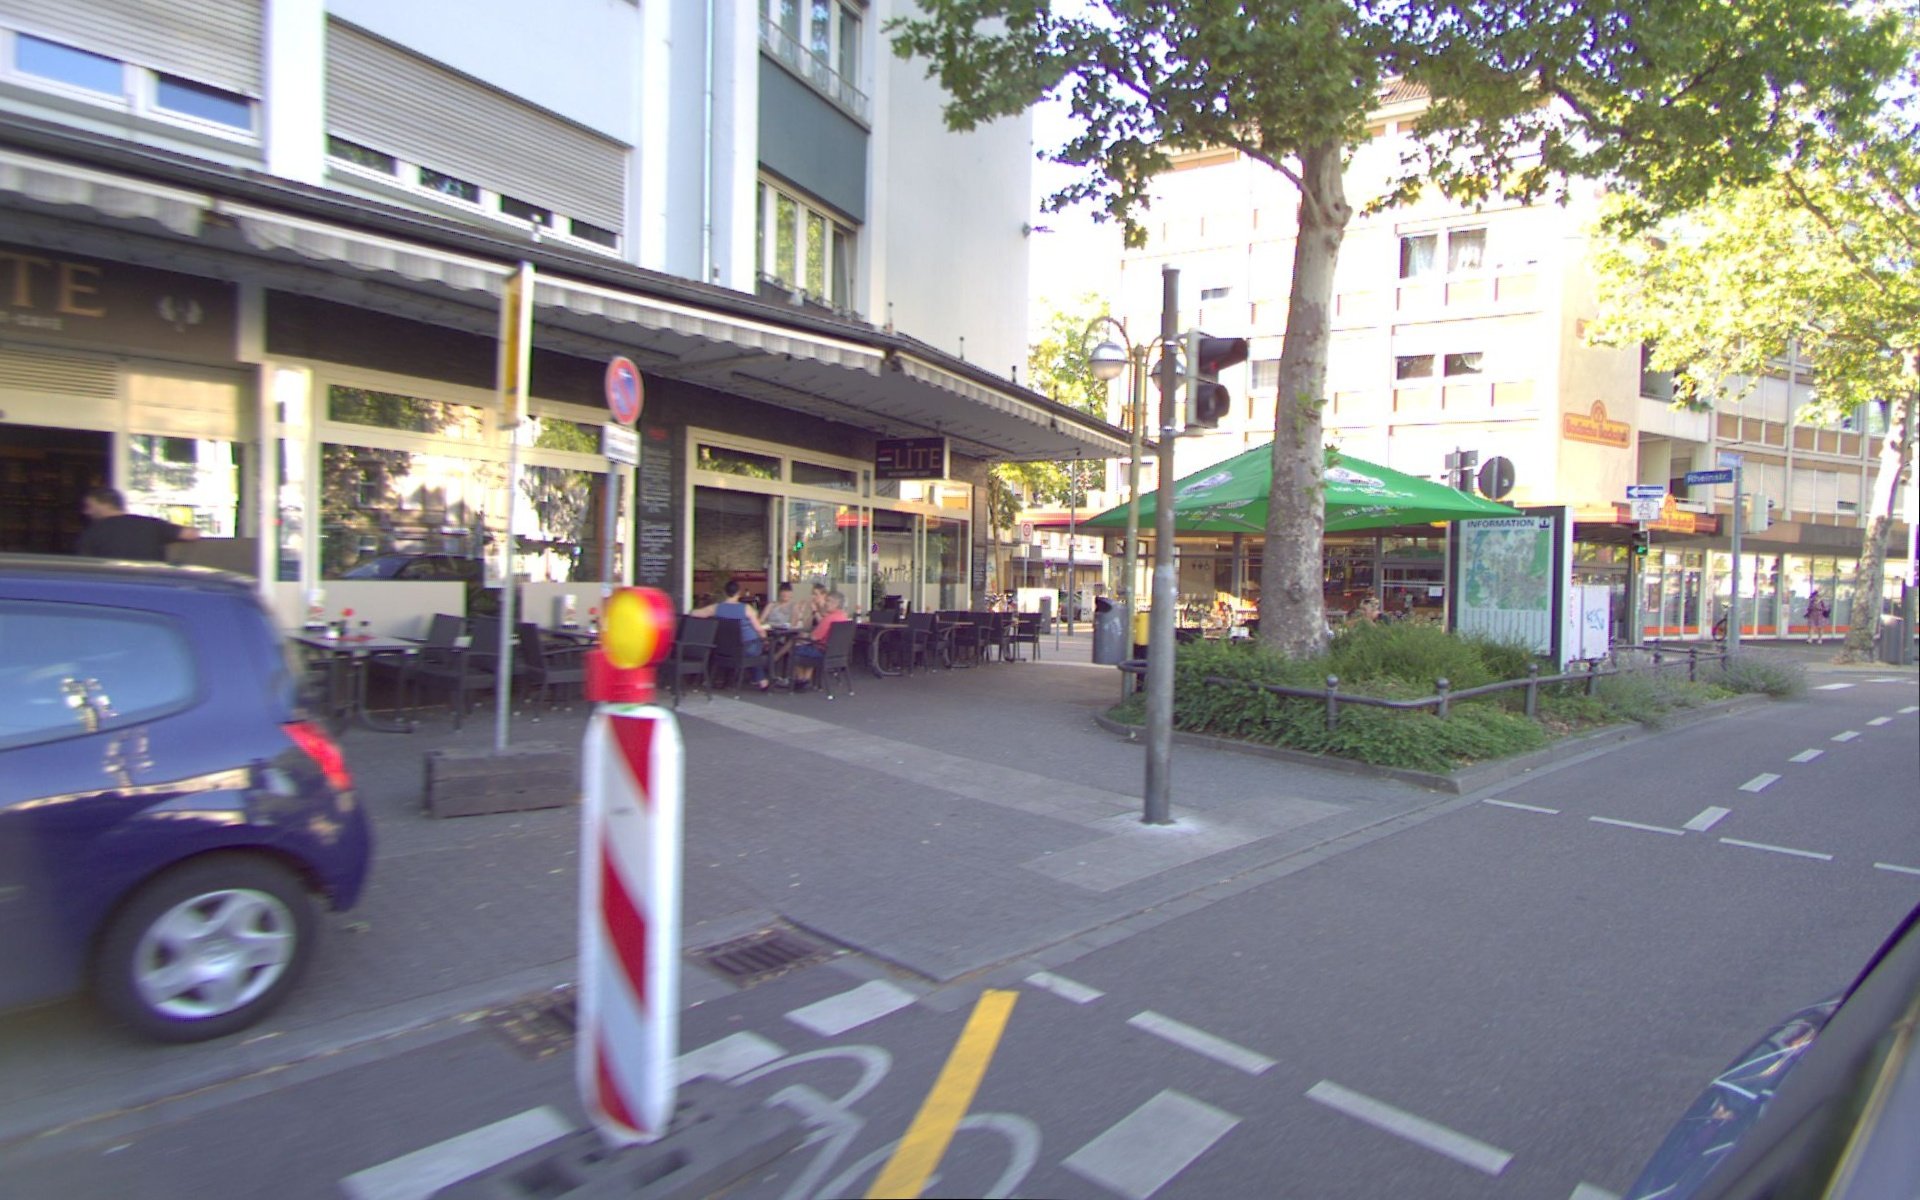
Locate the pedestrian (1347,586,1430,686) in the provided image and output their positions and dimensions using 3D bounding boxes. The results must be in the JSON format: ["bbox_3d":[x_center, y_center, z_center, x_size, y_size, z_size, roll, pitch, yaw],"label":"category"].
[{"bbox_3d":[5.839,0.476,13.803,0.753,1.301,0.720,1,1,-30],"label":"pedestrian"}]

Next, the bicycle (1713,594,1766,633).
[{"bbox_3d":[24.185,0.420,31.402,1.934,1.157,0.530,1,1,-28],"label":"bicycle"}]

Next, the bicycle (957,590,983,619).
[{"bbox_3d":[0.381,0.150,37.219,0.384,1.013,1.417,1,1,25],"label":"bicycle"}]

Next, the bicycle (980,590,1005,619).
[{"bbox_3d":[1.190,0.168,36.848,0.384,1.013,1.417,1,1,25],"label":"bicycle"}]

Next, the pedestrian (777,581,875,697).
[{"bbox_3d":[-1.503,0.422,11.383,0.837,1.213,0.645,3,1,25],"label":"pedestrian"}]

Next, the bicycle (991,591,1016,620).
[{"bbox_3d":[1.586,0.177,36.656,0.384,1.013,1.417,1,1,25],"label":"bicycle"}]

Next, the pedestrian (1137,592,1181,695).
[{"bbox_3d":[2.448,0.526,12.488,0.459,1.235,0.432,1,0,3],"label":"pedestrian"}]

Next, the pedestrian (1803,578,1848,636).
[{"bbox_3d":[27.031,0.199,31.605,0.883,1.779,0.751,1,1,-26],"label":"pedestrian"}]

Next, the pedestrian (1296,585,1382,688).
[{"bbox_3d":[5.001,0.462,13.375,0.753,1.301,0.720,1,1,-29],"label":"pedestrian"}]

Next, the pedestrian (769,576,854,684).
[{"bbox_3d":[-1.797,0.352,12.265,0.664,1.233,0.707,4,1,42],"label":"pedestrian"}]

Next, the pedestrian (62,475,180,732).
[{"bbox_3d":[-6.062,0.009,7.311,0.580,1.756,0.596,1,3,-44],"label":"pedestrian"}]

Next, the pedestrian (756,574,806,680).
[{"bbox_3d":[-2.228,0.326,12.613,0.541,1.259,0.521,3,1,-9],"label":"pedestrian"}]

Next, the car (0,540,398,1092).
[{"bbox_3d":[-3.752,0.568,2.778,1.620,1.484,3.547,5,4,44],"label":"car"}]

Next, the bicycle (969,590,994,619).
[{"bbox_3d":[0.782,0.160,37.022,0.384,1.013,1.418,1,1,24],"label":"bicycle"}]

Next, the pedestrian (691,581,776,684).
[{"bbox_3d":[-2.673,0.370,11.977,0.710,1.144,0.645,3,1,23],"label":"pedestrian"}]

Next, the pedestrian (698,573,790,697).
[{"bbox_3d":[-2.357,0.365,11.082,0.643,1.267,0.712,3,1,23],"label":"pedestrian"}]

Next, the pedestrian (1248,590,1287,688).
[{"bbox_3d":[4.041,0.503,13.295,0.427,1.234,0.465,3,2,18],"label":"pedestrian"}]
